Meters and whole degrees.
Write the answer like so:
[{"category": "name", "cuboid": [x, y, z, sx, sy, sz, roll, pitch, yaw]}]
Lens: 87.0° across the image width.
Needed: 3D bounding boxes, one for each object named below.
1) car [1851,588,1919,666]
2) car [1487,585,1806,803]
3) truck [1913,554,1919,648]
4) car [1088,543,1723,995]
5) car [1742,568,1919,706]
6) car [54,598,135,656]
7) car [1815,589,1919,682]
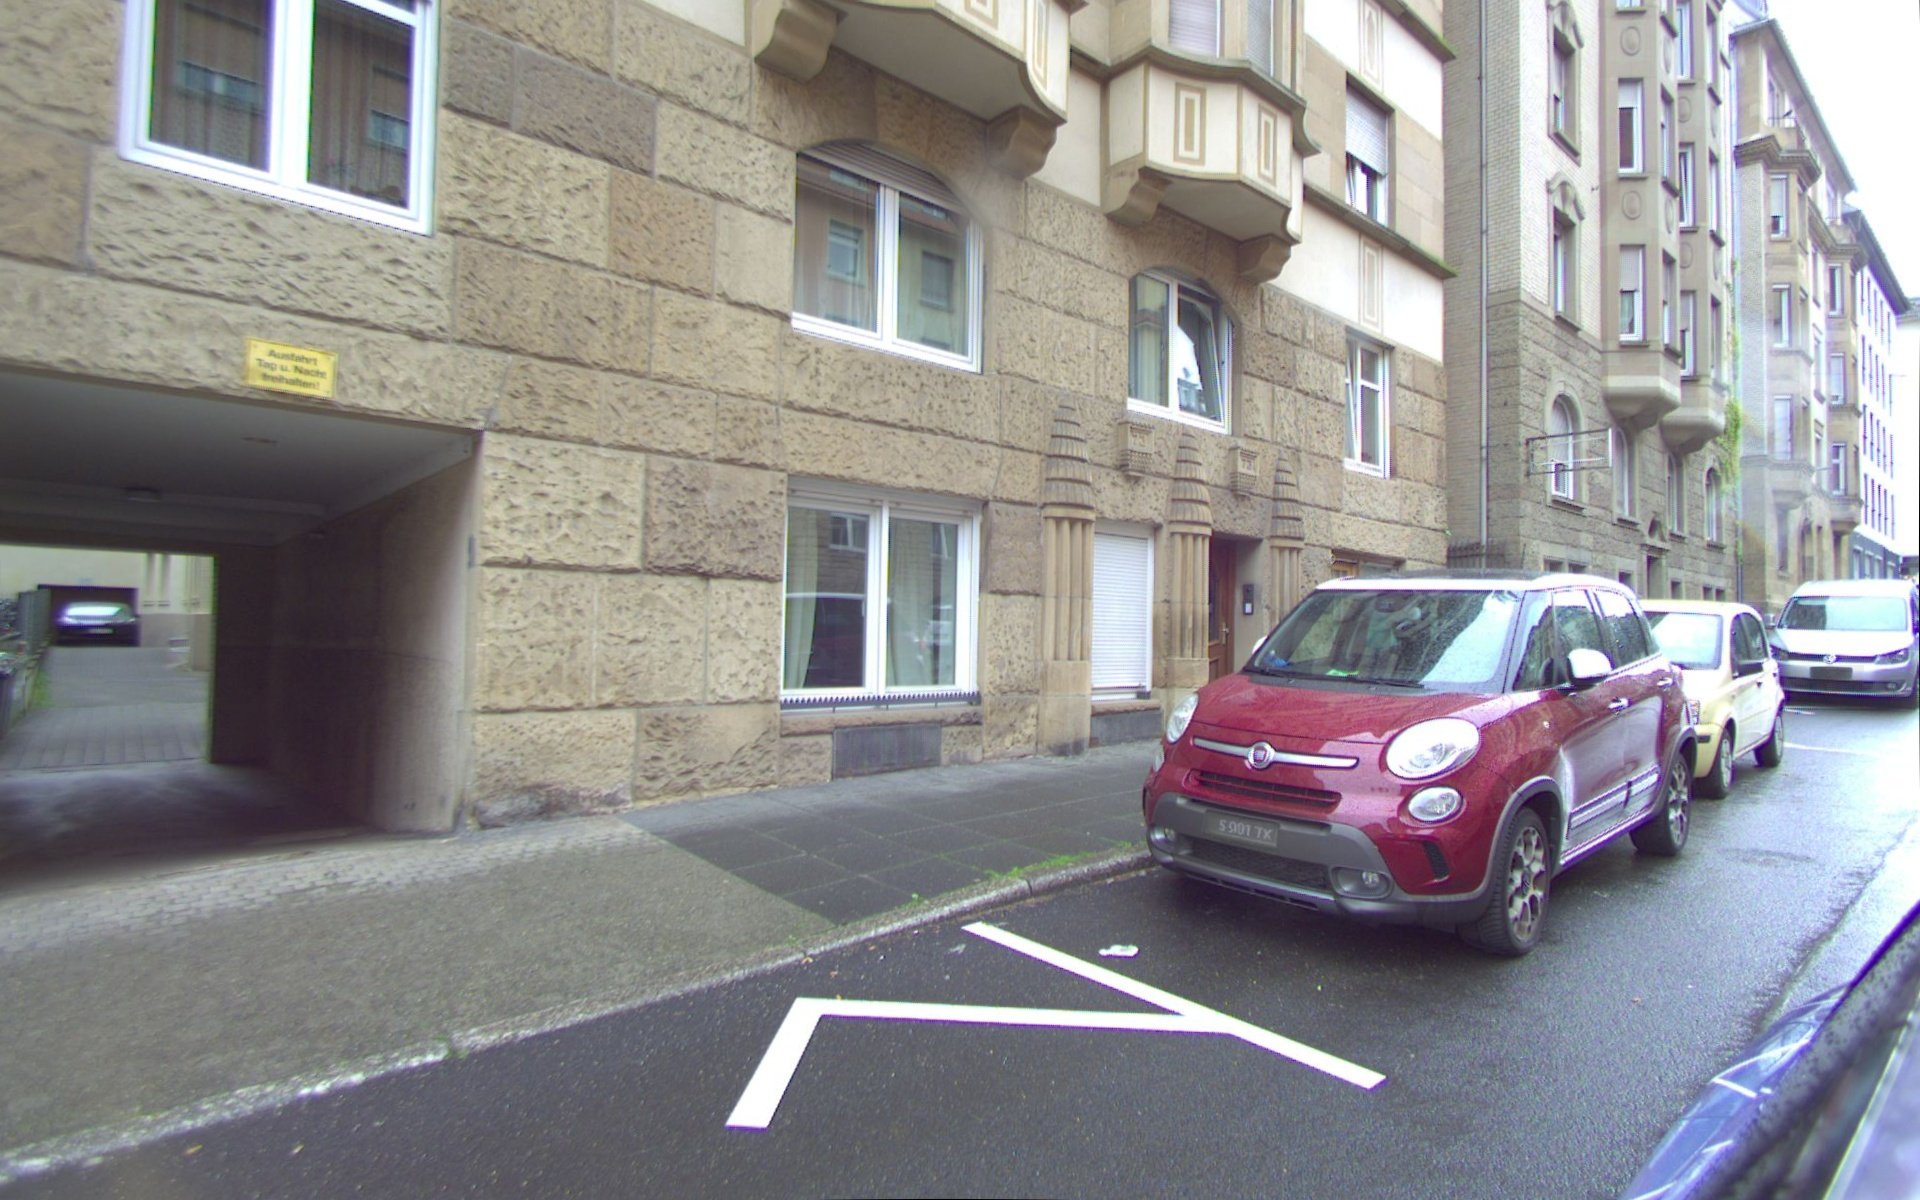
[{"category": "car", "cuboid": [20.482, 0.544, 21.451, 3.860, 1.549, 1.889, 0, -1, -41]}, {"category": "car", "cuboid": [6.204, 0.673, 9.003, 3.517, 1.549, 1.578, 0, -1, -43]}, {"category": "truck", "cuboid": [29.168, 0.019, 28.889, 6.036, 2.568, 2.234, 0, -1, -41]}, {"category": "car", "cuboid": [2.683, 0.610, 5.641, 3.932, 1.619, 1.804, 0, -1, -42]}, {"category": "car", "cuboid": [13.768, 0.497, 15.520, 4.380, 1.825, 1.966, 0, -1, -41]}, {"category": "car", "cuboid": [-25.180, 0.746, 29.468, 1.692, 1.541, 4.098, 0, -1, -41]}, {"category": "car", "cuboid": [17.176, 0.597, 18.511, 3.934, 1.549, 1.994, 0, -1, -45]}]
